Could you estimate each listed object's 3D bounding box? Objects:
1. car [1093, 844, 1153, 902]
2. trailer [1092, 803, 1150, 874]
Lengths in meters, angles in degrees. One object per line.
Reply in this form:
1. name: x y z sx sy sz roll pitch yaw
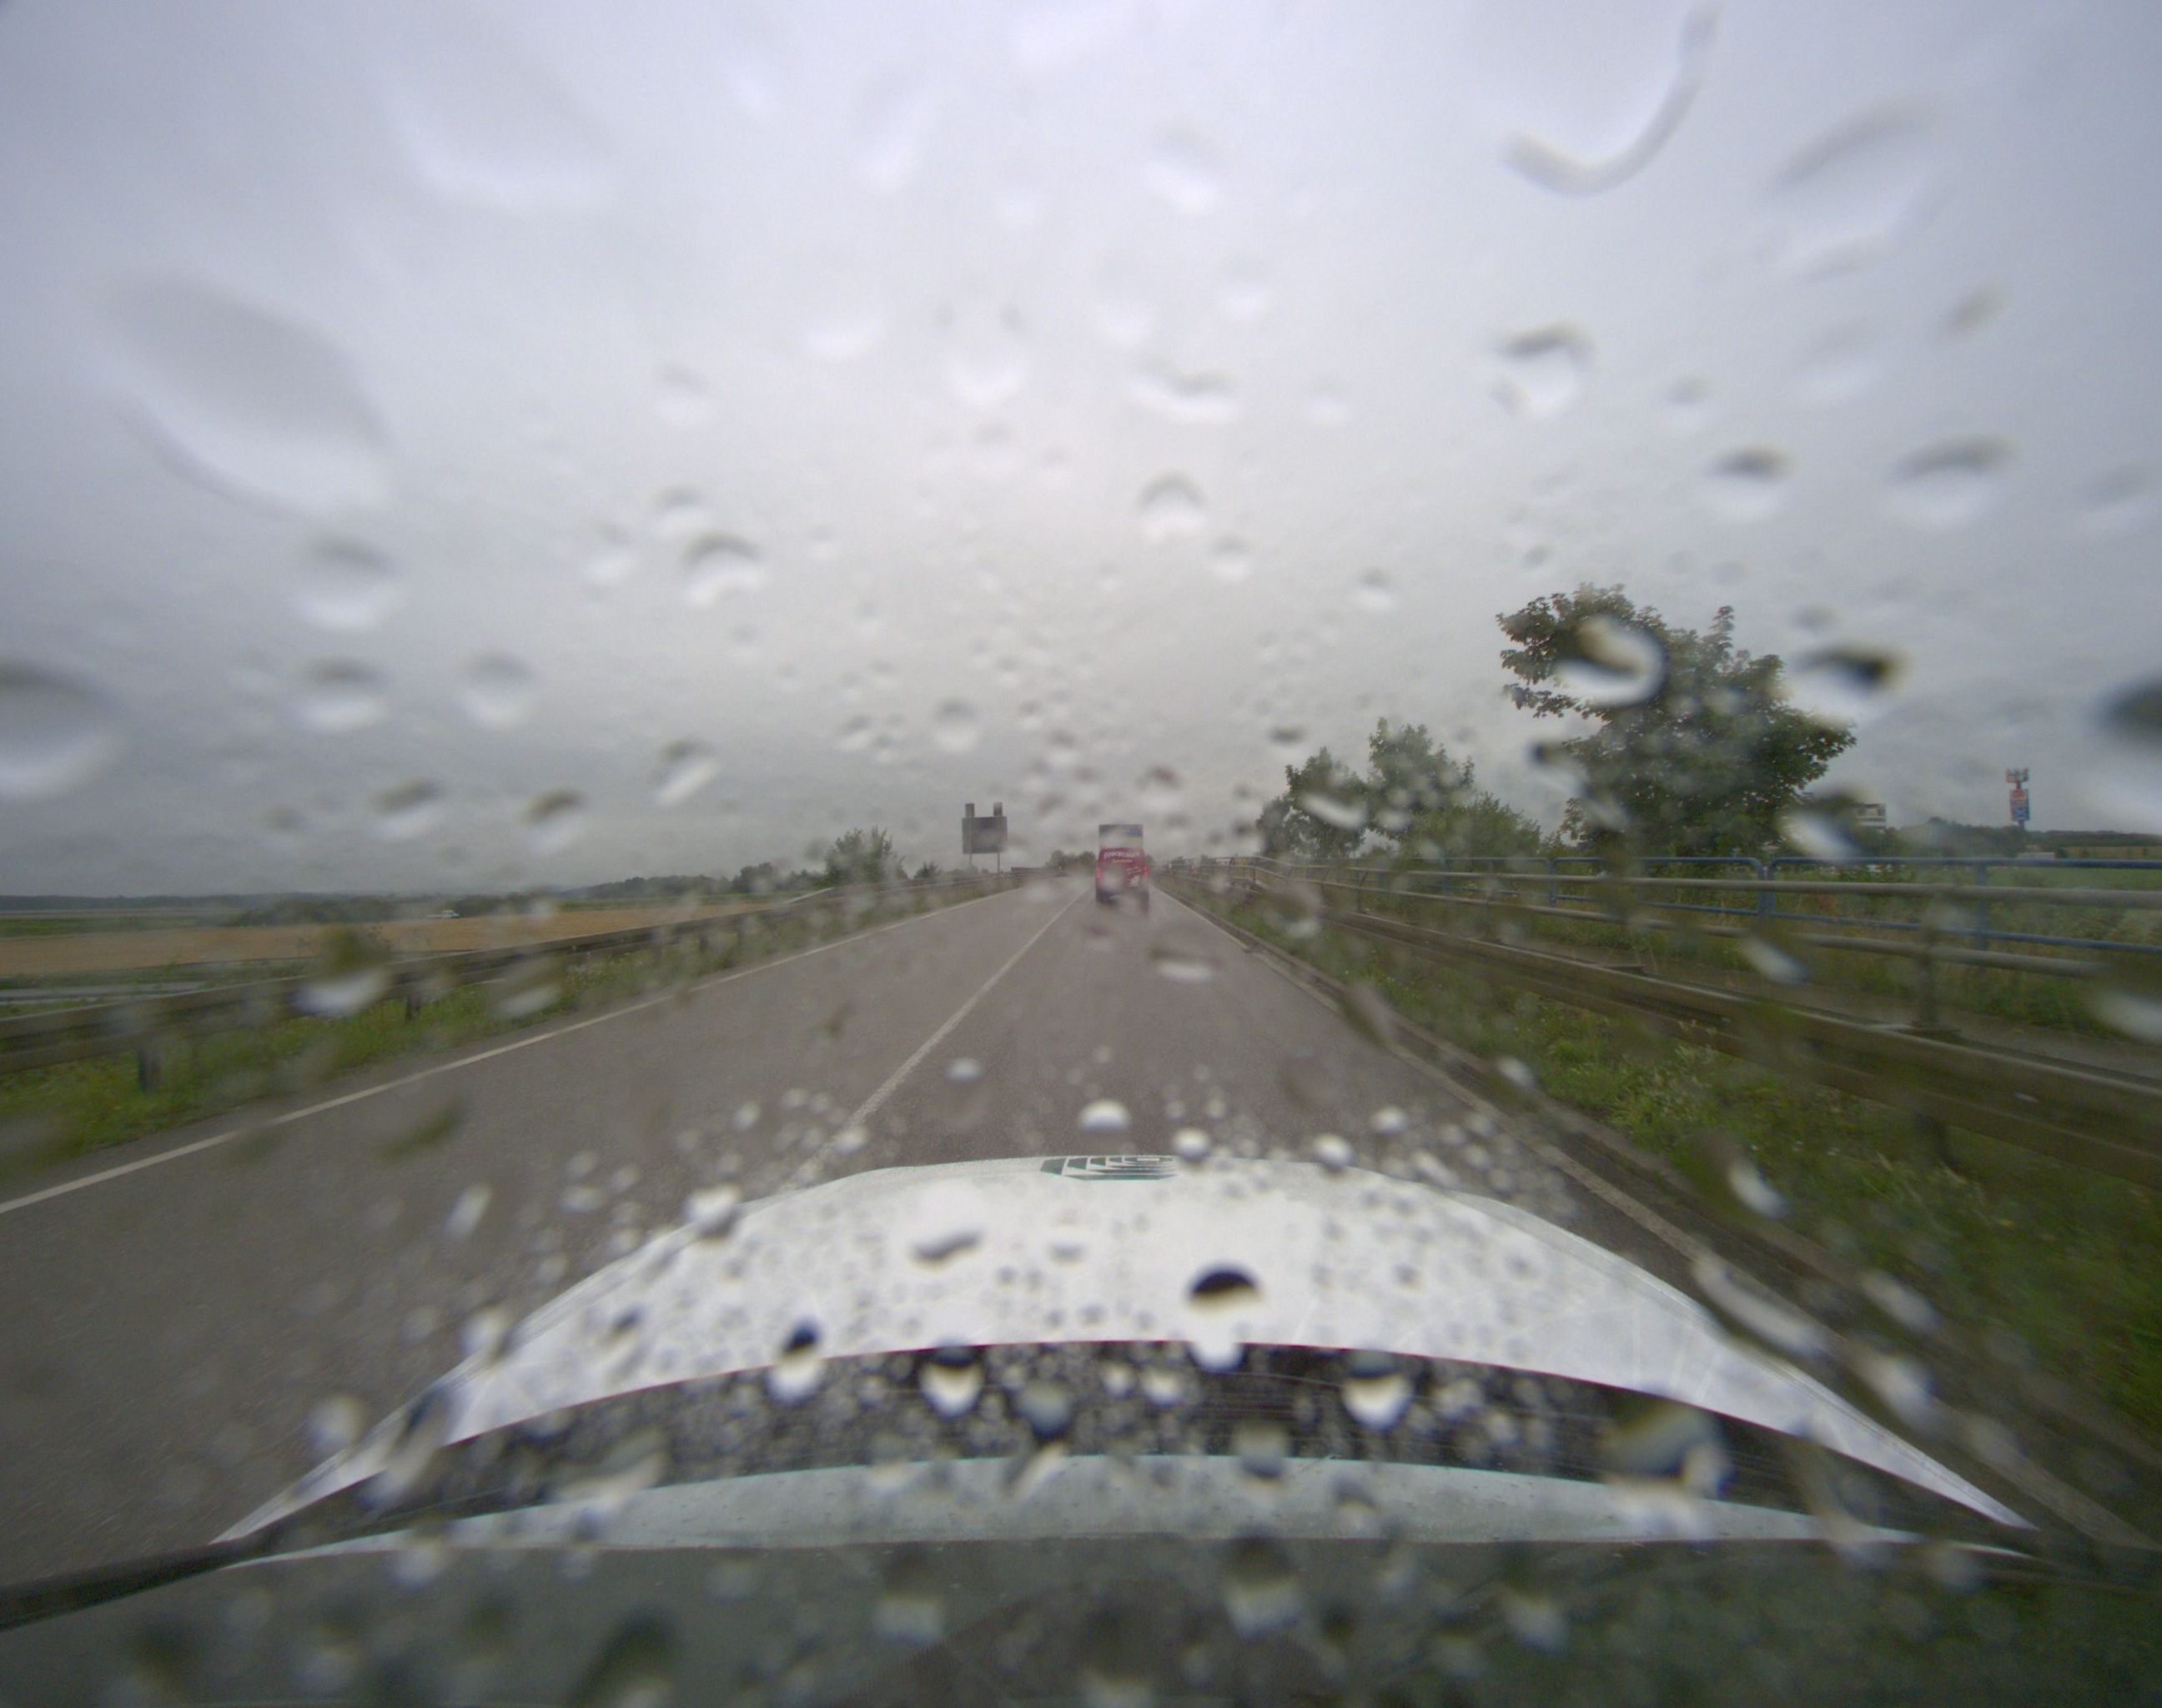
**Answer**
1. car: 1.479 0.642 29.350 1.986 1.926 4.145 0 0 2
2. trailer: 2.579 -0.774 50.522 3.187 3.922 8.747 1 -1 4
